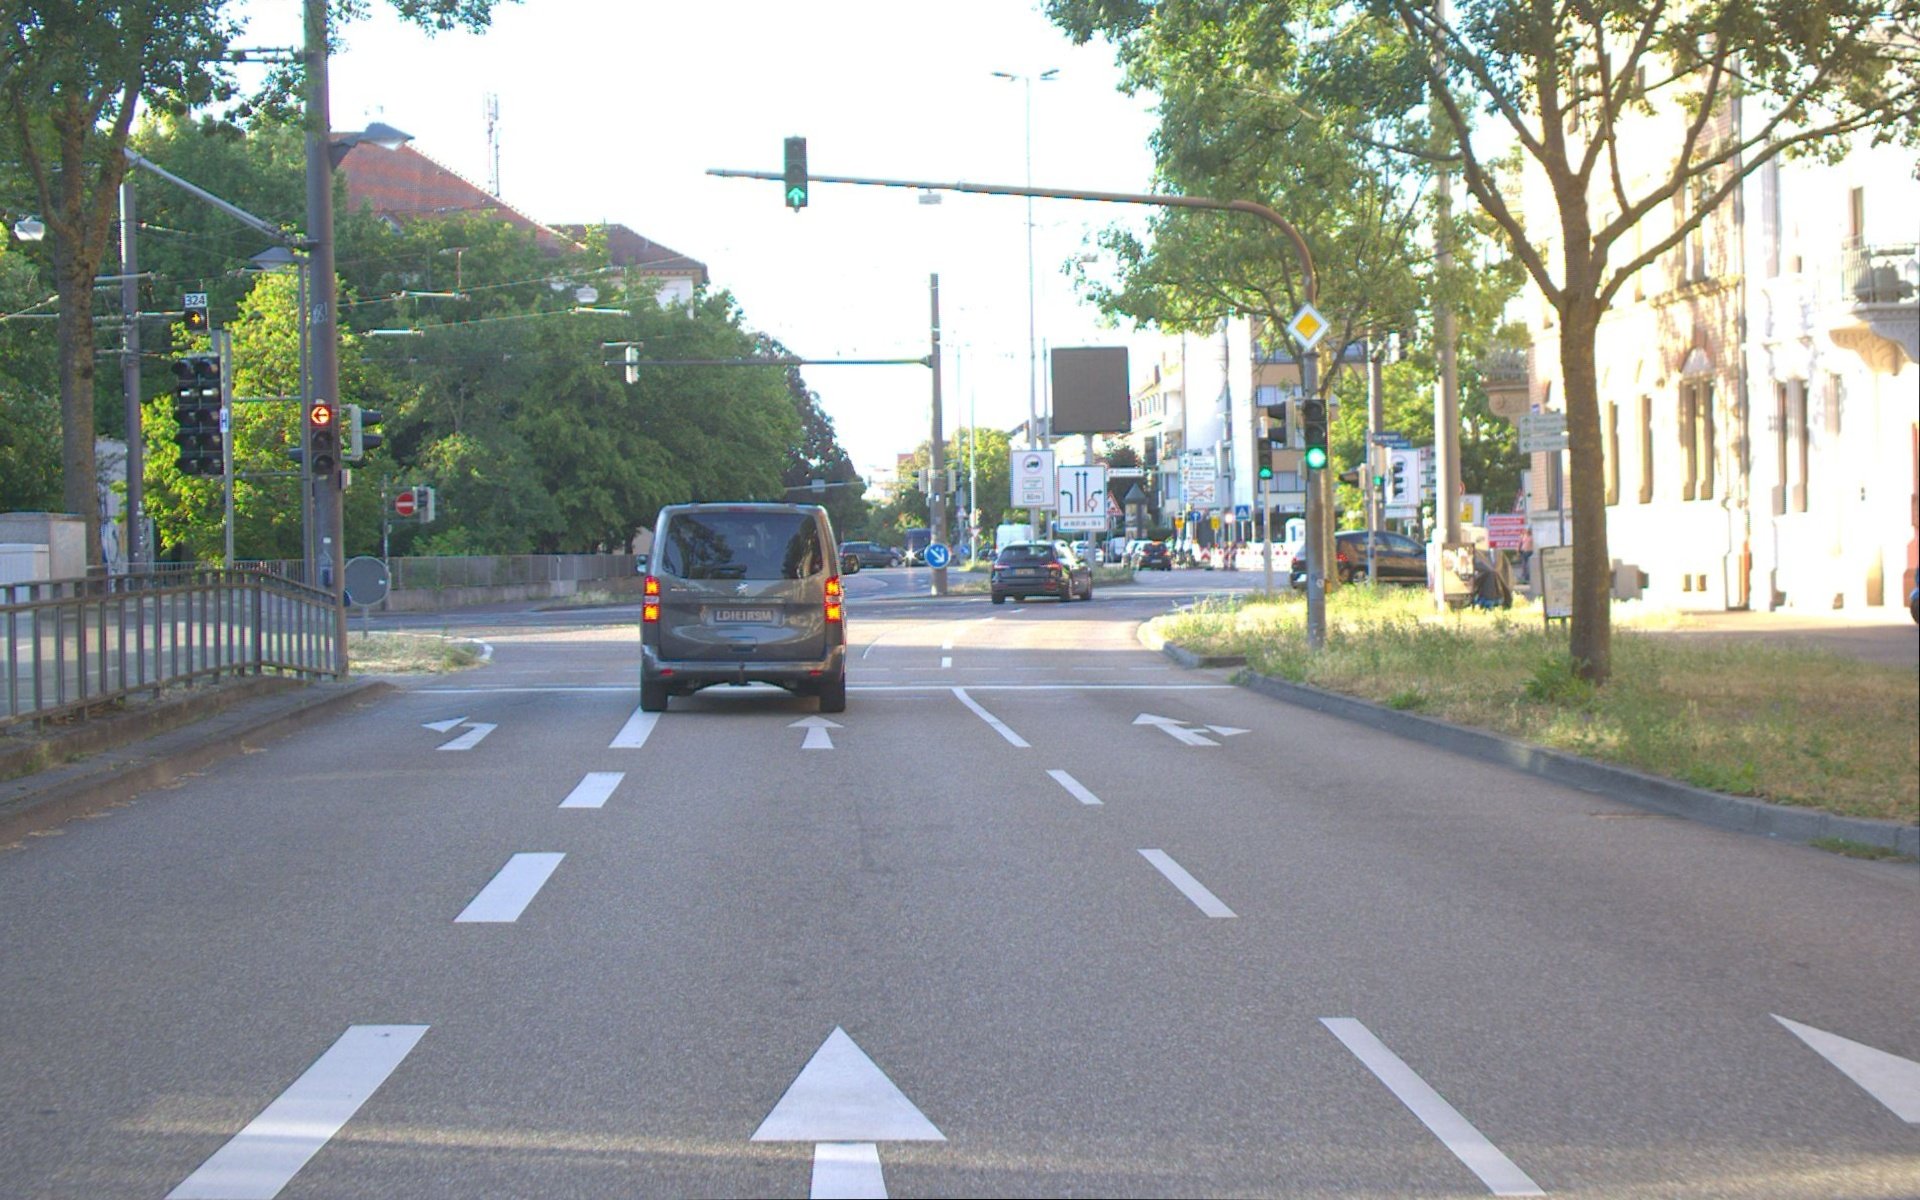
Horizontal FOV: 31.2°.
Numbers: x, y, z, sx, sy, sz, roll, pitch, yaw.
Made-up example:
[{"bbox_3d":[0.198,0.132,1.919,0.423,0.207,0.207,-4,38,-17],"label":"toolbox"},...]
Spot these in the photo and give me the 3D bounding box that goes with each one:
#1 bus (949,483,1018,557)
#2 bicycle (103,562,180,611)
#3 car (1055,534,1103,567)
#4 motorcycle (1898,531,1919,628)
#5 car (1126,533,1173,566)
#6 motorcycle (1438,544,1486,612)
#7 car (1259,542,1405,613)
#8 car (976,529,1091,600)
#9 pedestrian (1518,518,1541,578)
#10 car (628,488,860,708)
[{"bbox_3d":[1.427,-5.029,218.972,3.289,4.601,10.002,0,1,-6],"label":"bus"},{"bbox_3d":[-19.623,-0.324,82.428,1.717,1.138,0.559,-2,2,-44],"label":"bicycle"},{"bbox_3d":[6.262,-2.613,180.944,1.993,1.651,4.300,-1,1,-5],"label":"car"},{"bbox_3d":[12.295,-0.248,42.746,0.553,1.210,2.073,0,1,-4],"label":"motorcycle"},{"bbox_3d":[9.676,-2.584,175.827,1.993,1.651,4.299,-1,1,-1],"label":"car"},{"bbox_3d":[7.932,-0.359,54.323,0.604,1.040,1.744,-1,1,4],"label":"motorcycle"},{"bbox_3d":[8.191,-0.521,75.378,1.996,1.505,3.995,1,1,25],"label":"car"},{"bbox_3d":[1.689,-0.821,77.784,1.847,1.539,3.629,-1,1,14],"label":"car"},{"bbox_3d":[15.462,-1.406,93.391,0.552,1.623,0.699,-1,1,7],"label":"pedestrian"},{"bbox_3d":[-2.087,-0.048,32.199,1.993,1.894,4.300,1,1,-5],"label":"car"}]
